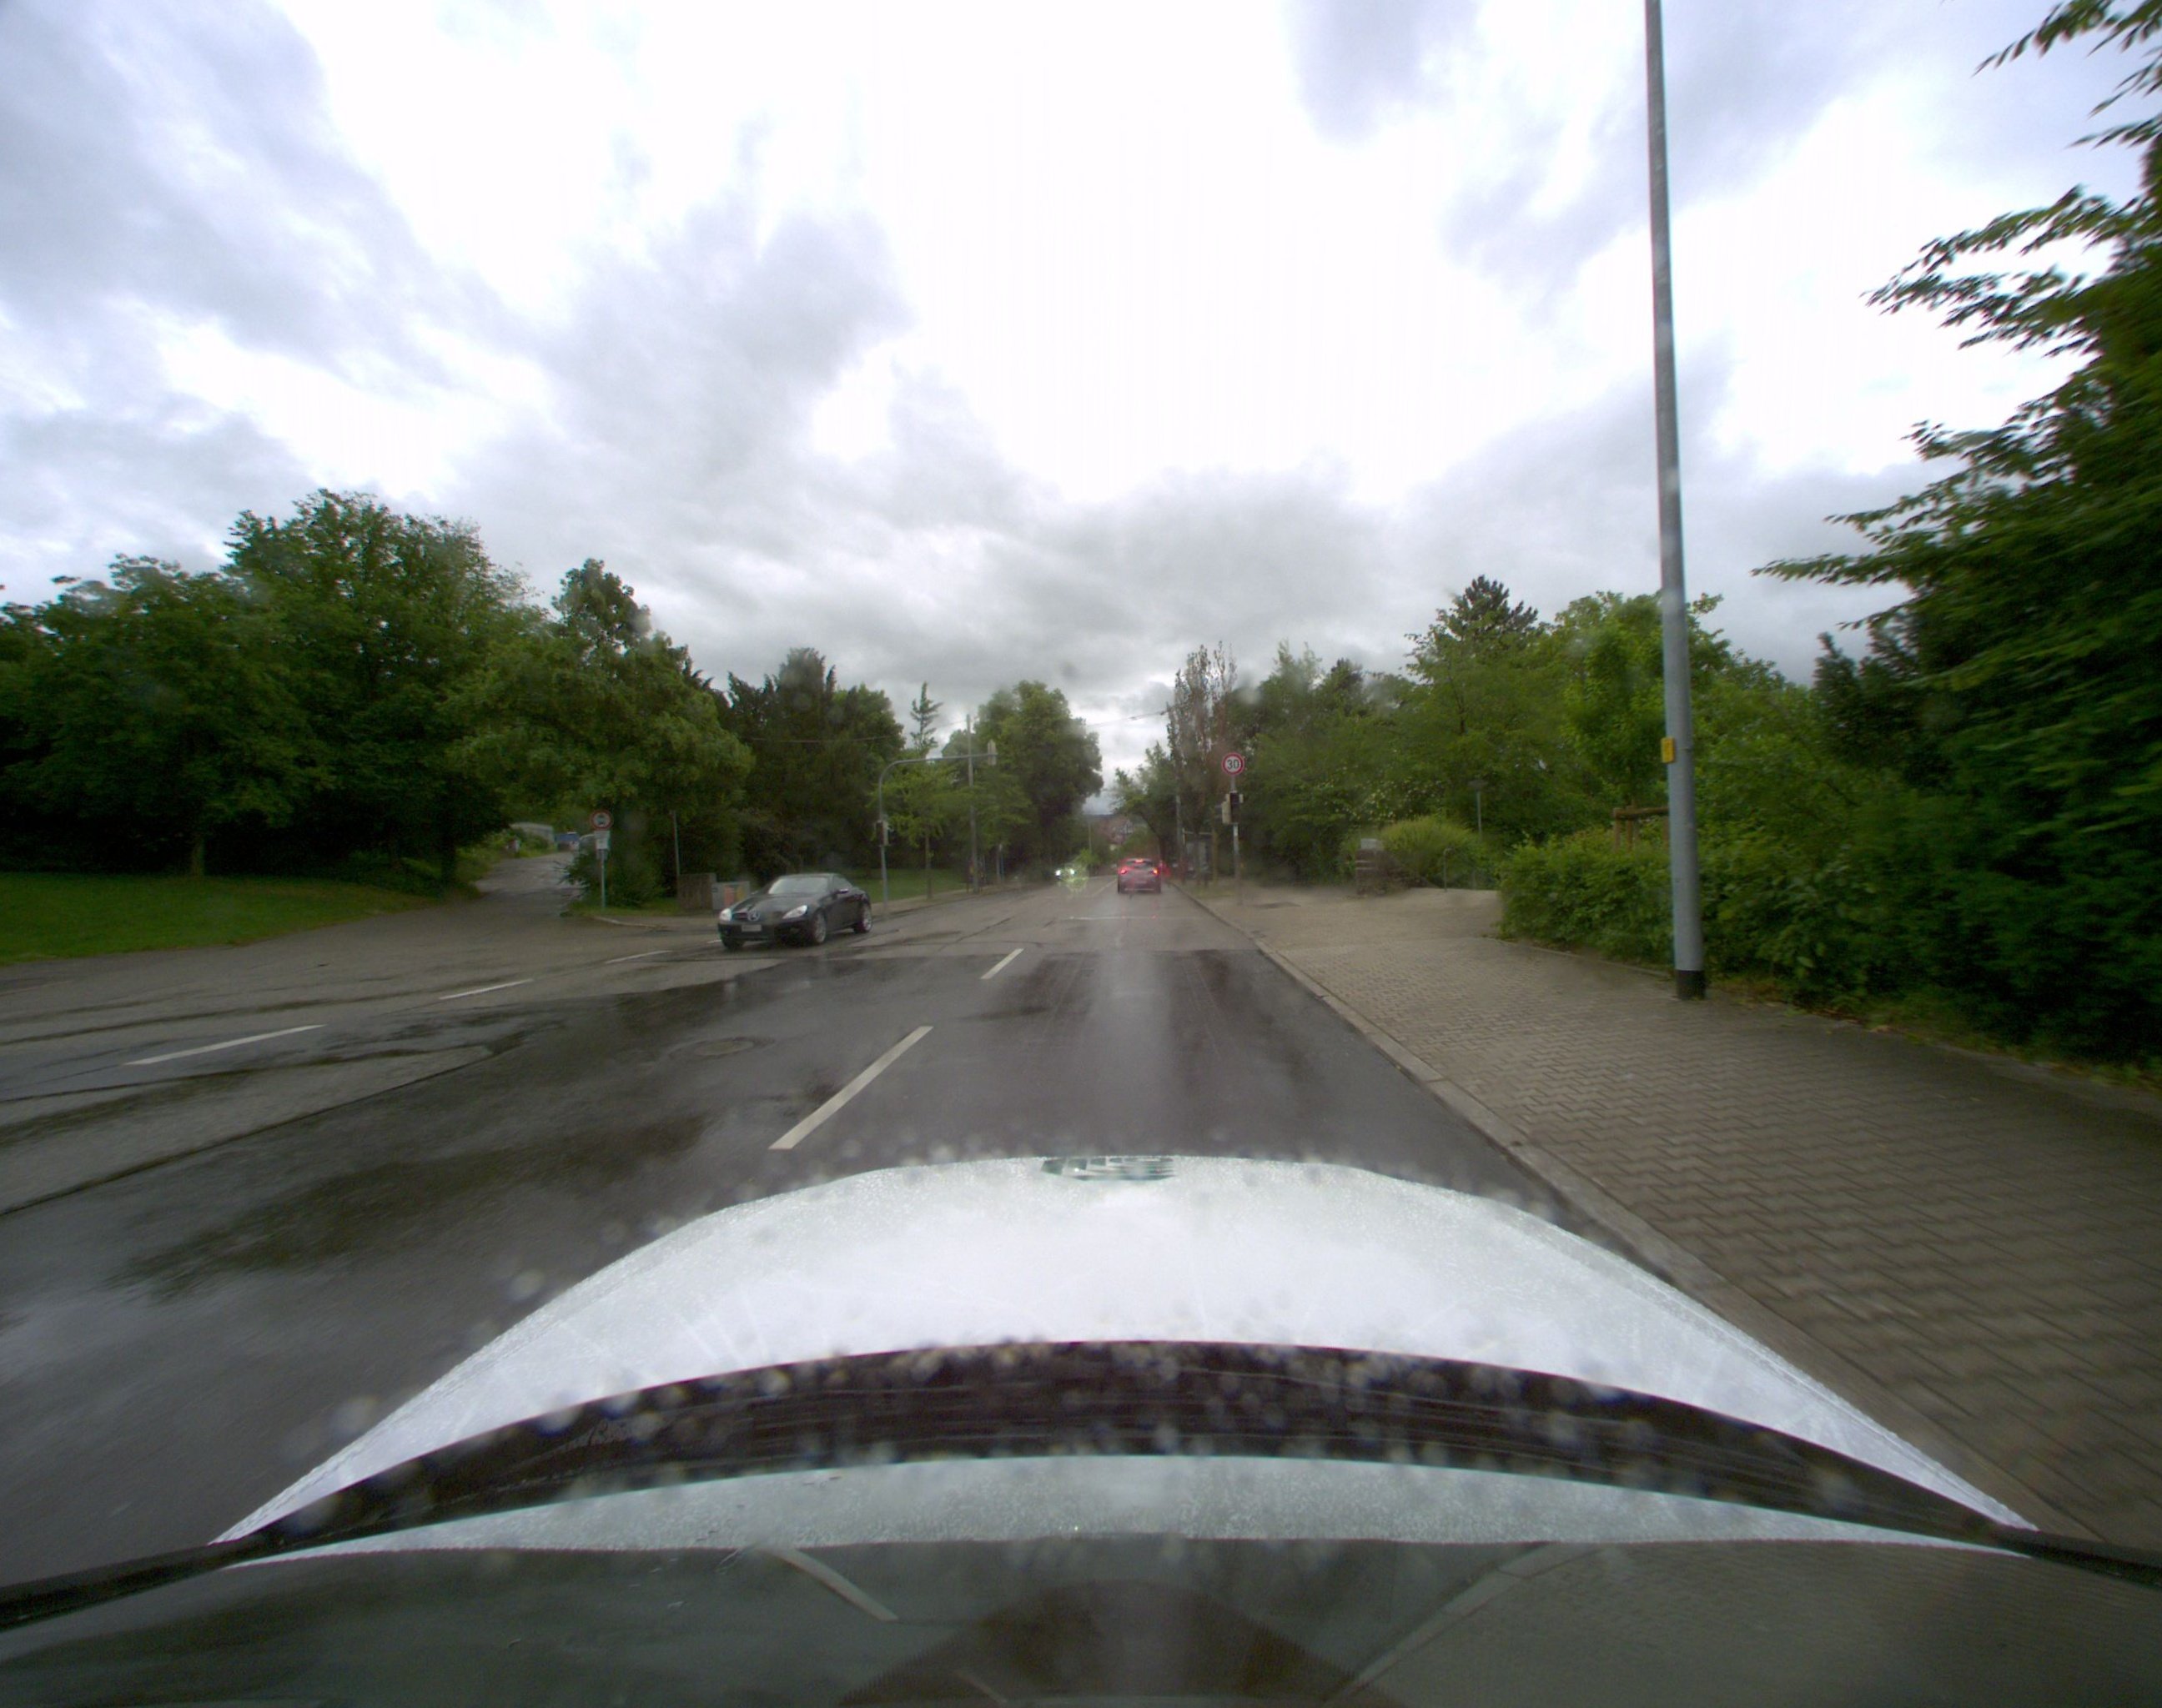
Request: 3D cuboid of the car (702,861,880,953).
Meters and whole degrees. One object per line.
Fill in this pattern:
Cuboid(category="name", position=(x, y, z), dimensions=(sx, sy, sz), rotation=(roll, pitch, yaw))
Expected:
Cuboid(category="car", position=(-5.410, 0.921, 15.811), dimensions=(1.653, 1.306, 4.088), rotation=(-4, 1, 4))

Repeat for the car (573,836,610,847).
Cuboid(category="car", position=(-64.868, -1.665, 107.993), dimensions=(4.010, 1.384, 1.711), rotation=(0, 0, -29))

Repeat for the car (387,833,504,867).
Cuboid(category="car", position=(-30.233, -0.175, 38.892), dimensions=(3.908, 1.486, 1.923), rotation=(-2, -1, -19))

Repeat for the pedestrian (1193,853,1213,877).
Cuboid(category="pedestrian", position=(7.221, 0.635, 48.122), dimensions=(1.067, 1.355, 0.921), rotation=(-4, -1, 11))

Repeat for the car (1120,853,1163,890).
Cuboid(category="car", position=(2.564, 0.706, 35.421), dimensions=(1.747, 1.464, 4.003), rotation=(0, 1, 3))

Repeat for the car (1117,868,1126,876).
Cuboid(category="car", position=(8.038, 3.574, 161.138), dimensions=(1.714, 1.464, 4.005), rotation=(1, 0, 4))

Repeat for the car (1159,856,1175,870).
Cuboid(category="car", position=(10.104, 1.042, 96.075), dimensions=(1.713, 1.464, 4.005), rotation=(-4, 0, 5))

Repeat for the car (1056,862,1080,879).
Cuboid(category="car", position=(-1.113, 1.375, 70.377), dimensions=(1.713, 1.399, 4.005), rotation=(0, 0, 4))

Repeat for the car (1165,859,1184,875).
Cuboid(category="car", position=(9.267, 1.259, 80.920), dimensions=(1.713, 1.464, 4.005), rotation=(-4, 0, 5))
